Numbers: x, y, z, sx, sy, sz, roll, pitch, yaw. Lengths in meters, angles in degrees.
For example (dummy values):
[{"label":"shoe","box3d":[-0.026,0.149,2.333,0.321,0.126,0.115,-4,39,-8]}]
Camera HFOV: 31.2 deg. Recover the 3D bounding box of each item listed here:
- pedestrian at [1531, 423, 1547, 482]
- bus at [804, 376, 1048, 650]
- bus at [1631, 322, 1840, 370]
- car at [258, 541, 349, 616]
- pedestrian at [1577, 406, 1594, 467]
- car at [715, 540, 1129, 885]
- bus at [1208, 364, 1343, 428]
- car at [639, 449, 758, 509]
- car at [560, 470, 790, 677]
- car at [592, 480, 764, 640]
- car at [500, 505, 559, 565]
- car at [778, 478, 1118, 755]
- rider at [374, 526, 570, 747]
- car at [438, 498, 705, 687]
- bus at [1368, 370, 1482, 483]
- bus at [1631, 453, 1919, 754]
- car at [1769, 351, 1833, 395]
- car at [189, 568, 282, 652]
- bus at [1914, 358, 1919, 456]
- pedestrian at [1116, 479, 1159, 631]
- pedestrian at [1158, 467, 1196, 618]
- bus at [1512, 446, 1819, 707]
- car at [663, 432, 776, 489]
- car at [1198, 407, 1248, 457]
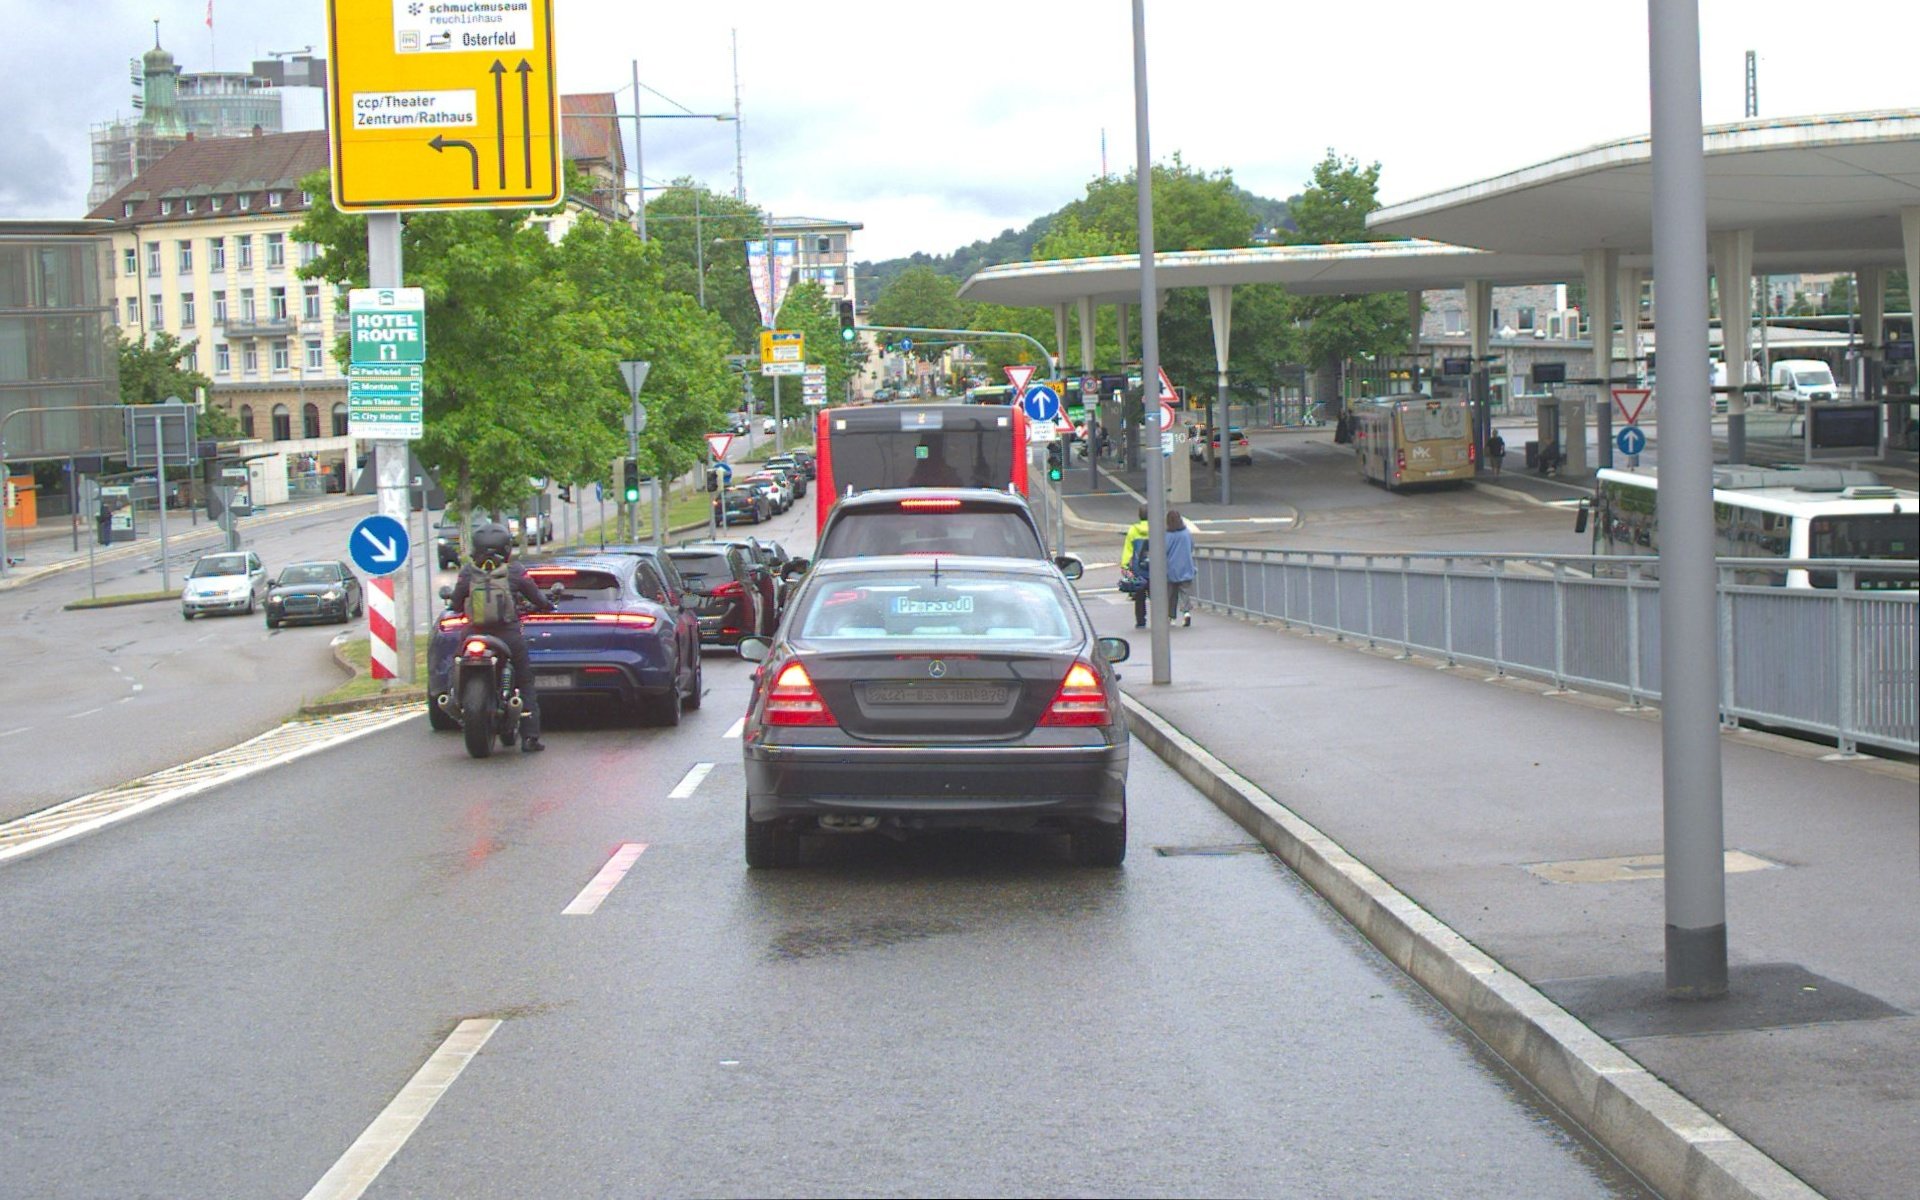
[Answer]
[{"label":"pedestrian","box3d":[19.898,-5.082,118.199,0.424,2.006,0.483,-2,2,2]},{"label":"bus","box3d":[-0.469,-1.146,45.348,2.827,3.178,10.310,0,1,-1]},{"label":"bus","box3d":[39.567,-12.949,175.446,10.167,2.006,2.170,-2,2,-3]},{"label":"car","box3d":[-15.486,-0.535,81.218,1.832,1.521,4.596,-3,3,-8]},{"label":"pedestrian","box3d":[20.859,-5.445,114.698,0.424,2.007,0.483,-2,-1,2]},{"label":"car","box3d":[-0.167,0.438,16.121,1.706,1.415,3.726,0,1,0]},{"label":"bus","box3d":[17.998,-11.644,196.569,7.197,3.384,3.083,-2,3,-4]},{"label":"car","box3d":[-9.437,-4.367,124.340,3.987,2.006,2.000,-2,2,4]},{"label":"car","box3d":[-2.857,-0.315,35.314,1.993,1.999,4.000,0,2,0]},{"label":"car","box3d":[-3.643,-0.563,45.070,1.993,1.999,4.001,0,2,-1]},{"label":"car","box3d":[-15.344,-2.287,122.475,1.993,2.007,4.203,-2,0,-7]},{"label":"car","box3d":[0.012,0.040,22.966,1.827,1.681,3.999,0,2,6]},{"label":"rider","box3d":[-3.411,0.220,24.230,0.881,1.467,2.196,0,2,5]},{"label":"car","box3d":[-3.122,-0.118,28.335,1.760,1.431,4.000,0,2,0]},{"label":"bus","box3d":[15.856,-5.860,117.868,3.179,3.588,10.509,-2,2,4]},{"label":"bus","box3d":[10.885,-0.108,44.185,2.645,3.225,7.074,0,5,-4]},{"label":"car","box3d":[40.024,-10.790,163.669,1.993,2.006,4.001,-2,3,-1]},{"label":"car","box3d":[-18.742,0.242,89.072,1.993,2.007,4.001,-3,1,-8]},{"label":"bus","box3d":[32.853,-6.244,110.370,2.600,3.198,6.994,-2,3,1]},{"label":"pedestrian","box3d":[2.374,-0.596,46.096,0.489,2.007,0.469,-2,-1,2]},{"label":"pedestrian","box3d":[2.913,-0.763,46.129,0.424,2.007,0.483,-2,-1,2]},{"label":"bus","box3d":[10.379,-0.483,51.291,2.646,3.224,7.074,-2,5,-4]},{"label":"car","box3d":[-9.116,-5.279,130.416,3.987,2.006,2.000,-2,2,4]},{"label":"car","box3d":[10.976,-6.995,143.387,1.994,2.006,4.000,-2,2,5]}]
